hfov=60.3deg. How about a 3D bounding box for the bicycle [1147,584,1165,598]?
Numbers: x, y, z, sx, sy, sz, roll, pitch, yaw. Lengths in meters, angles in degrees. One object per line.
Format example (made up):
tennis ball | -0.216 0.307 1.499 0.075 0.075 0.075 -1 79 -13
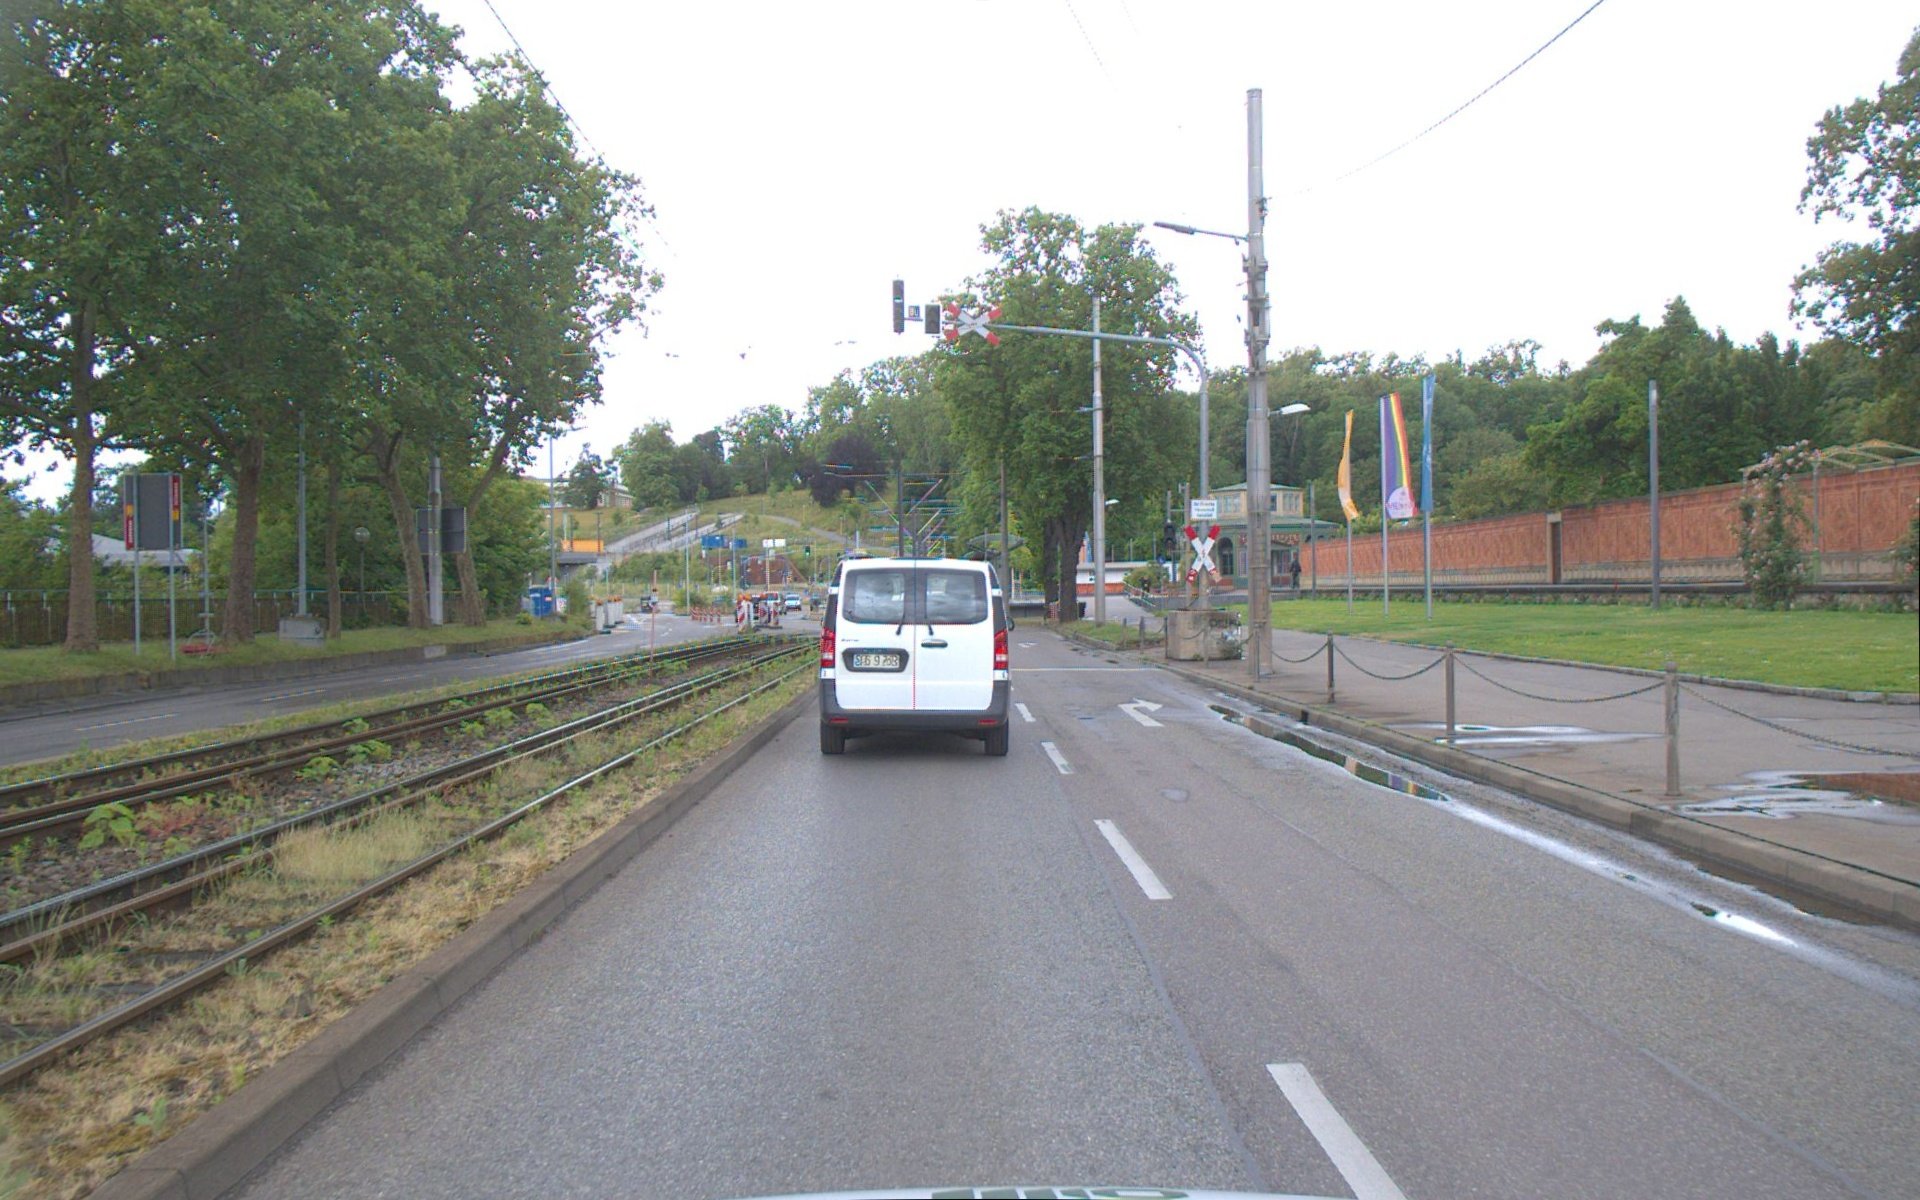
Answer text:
bicycle | 15.949 -0.712 134.353 0.556 1.080 1.698 1 -1 -30

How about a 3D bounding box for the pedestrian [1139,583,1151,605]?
pedestrian | 10.684 -0.344 95.373 0.537 1.222 0.668 1 -1 -7

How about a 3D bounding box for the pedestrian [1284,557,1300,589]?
pedestrian | 19.754 -1.623 98.374 0.929 1.870 0.550 1 -1 10

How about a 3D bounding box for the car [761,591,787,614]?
car | -14.778 0.196 131.594 1.717 1.803 3.999 1 0 -1

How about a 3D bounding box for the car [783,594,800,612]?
car | -19.229 0.353 188.946 1.896 2.049 3.996 1 -1 -5

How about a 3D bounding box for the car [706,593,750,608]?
car | -26.851 0.089 191.592 4.608 1.503 2.002 -2 1 10

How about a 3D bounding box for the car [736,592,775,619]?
car | -11.530 0.321 93.030 1.806 1.493 4.049 0 0 -12

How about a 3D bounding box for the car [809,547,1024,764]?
car | -0.427 0.510 17.089 1.919 1.937 4.460 0 0 -1

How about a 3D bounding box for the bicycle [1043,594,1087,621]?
bicycle | 4.830 0.325 75.926 1.949 1.178 0.741 -1 0 4
